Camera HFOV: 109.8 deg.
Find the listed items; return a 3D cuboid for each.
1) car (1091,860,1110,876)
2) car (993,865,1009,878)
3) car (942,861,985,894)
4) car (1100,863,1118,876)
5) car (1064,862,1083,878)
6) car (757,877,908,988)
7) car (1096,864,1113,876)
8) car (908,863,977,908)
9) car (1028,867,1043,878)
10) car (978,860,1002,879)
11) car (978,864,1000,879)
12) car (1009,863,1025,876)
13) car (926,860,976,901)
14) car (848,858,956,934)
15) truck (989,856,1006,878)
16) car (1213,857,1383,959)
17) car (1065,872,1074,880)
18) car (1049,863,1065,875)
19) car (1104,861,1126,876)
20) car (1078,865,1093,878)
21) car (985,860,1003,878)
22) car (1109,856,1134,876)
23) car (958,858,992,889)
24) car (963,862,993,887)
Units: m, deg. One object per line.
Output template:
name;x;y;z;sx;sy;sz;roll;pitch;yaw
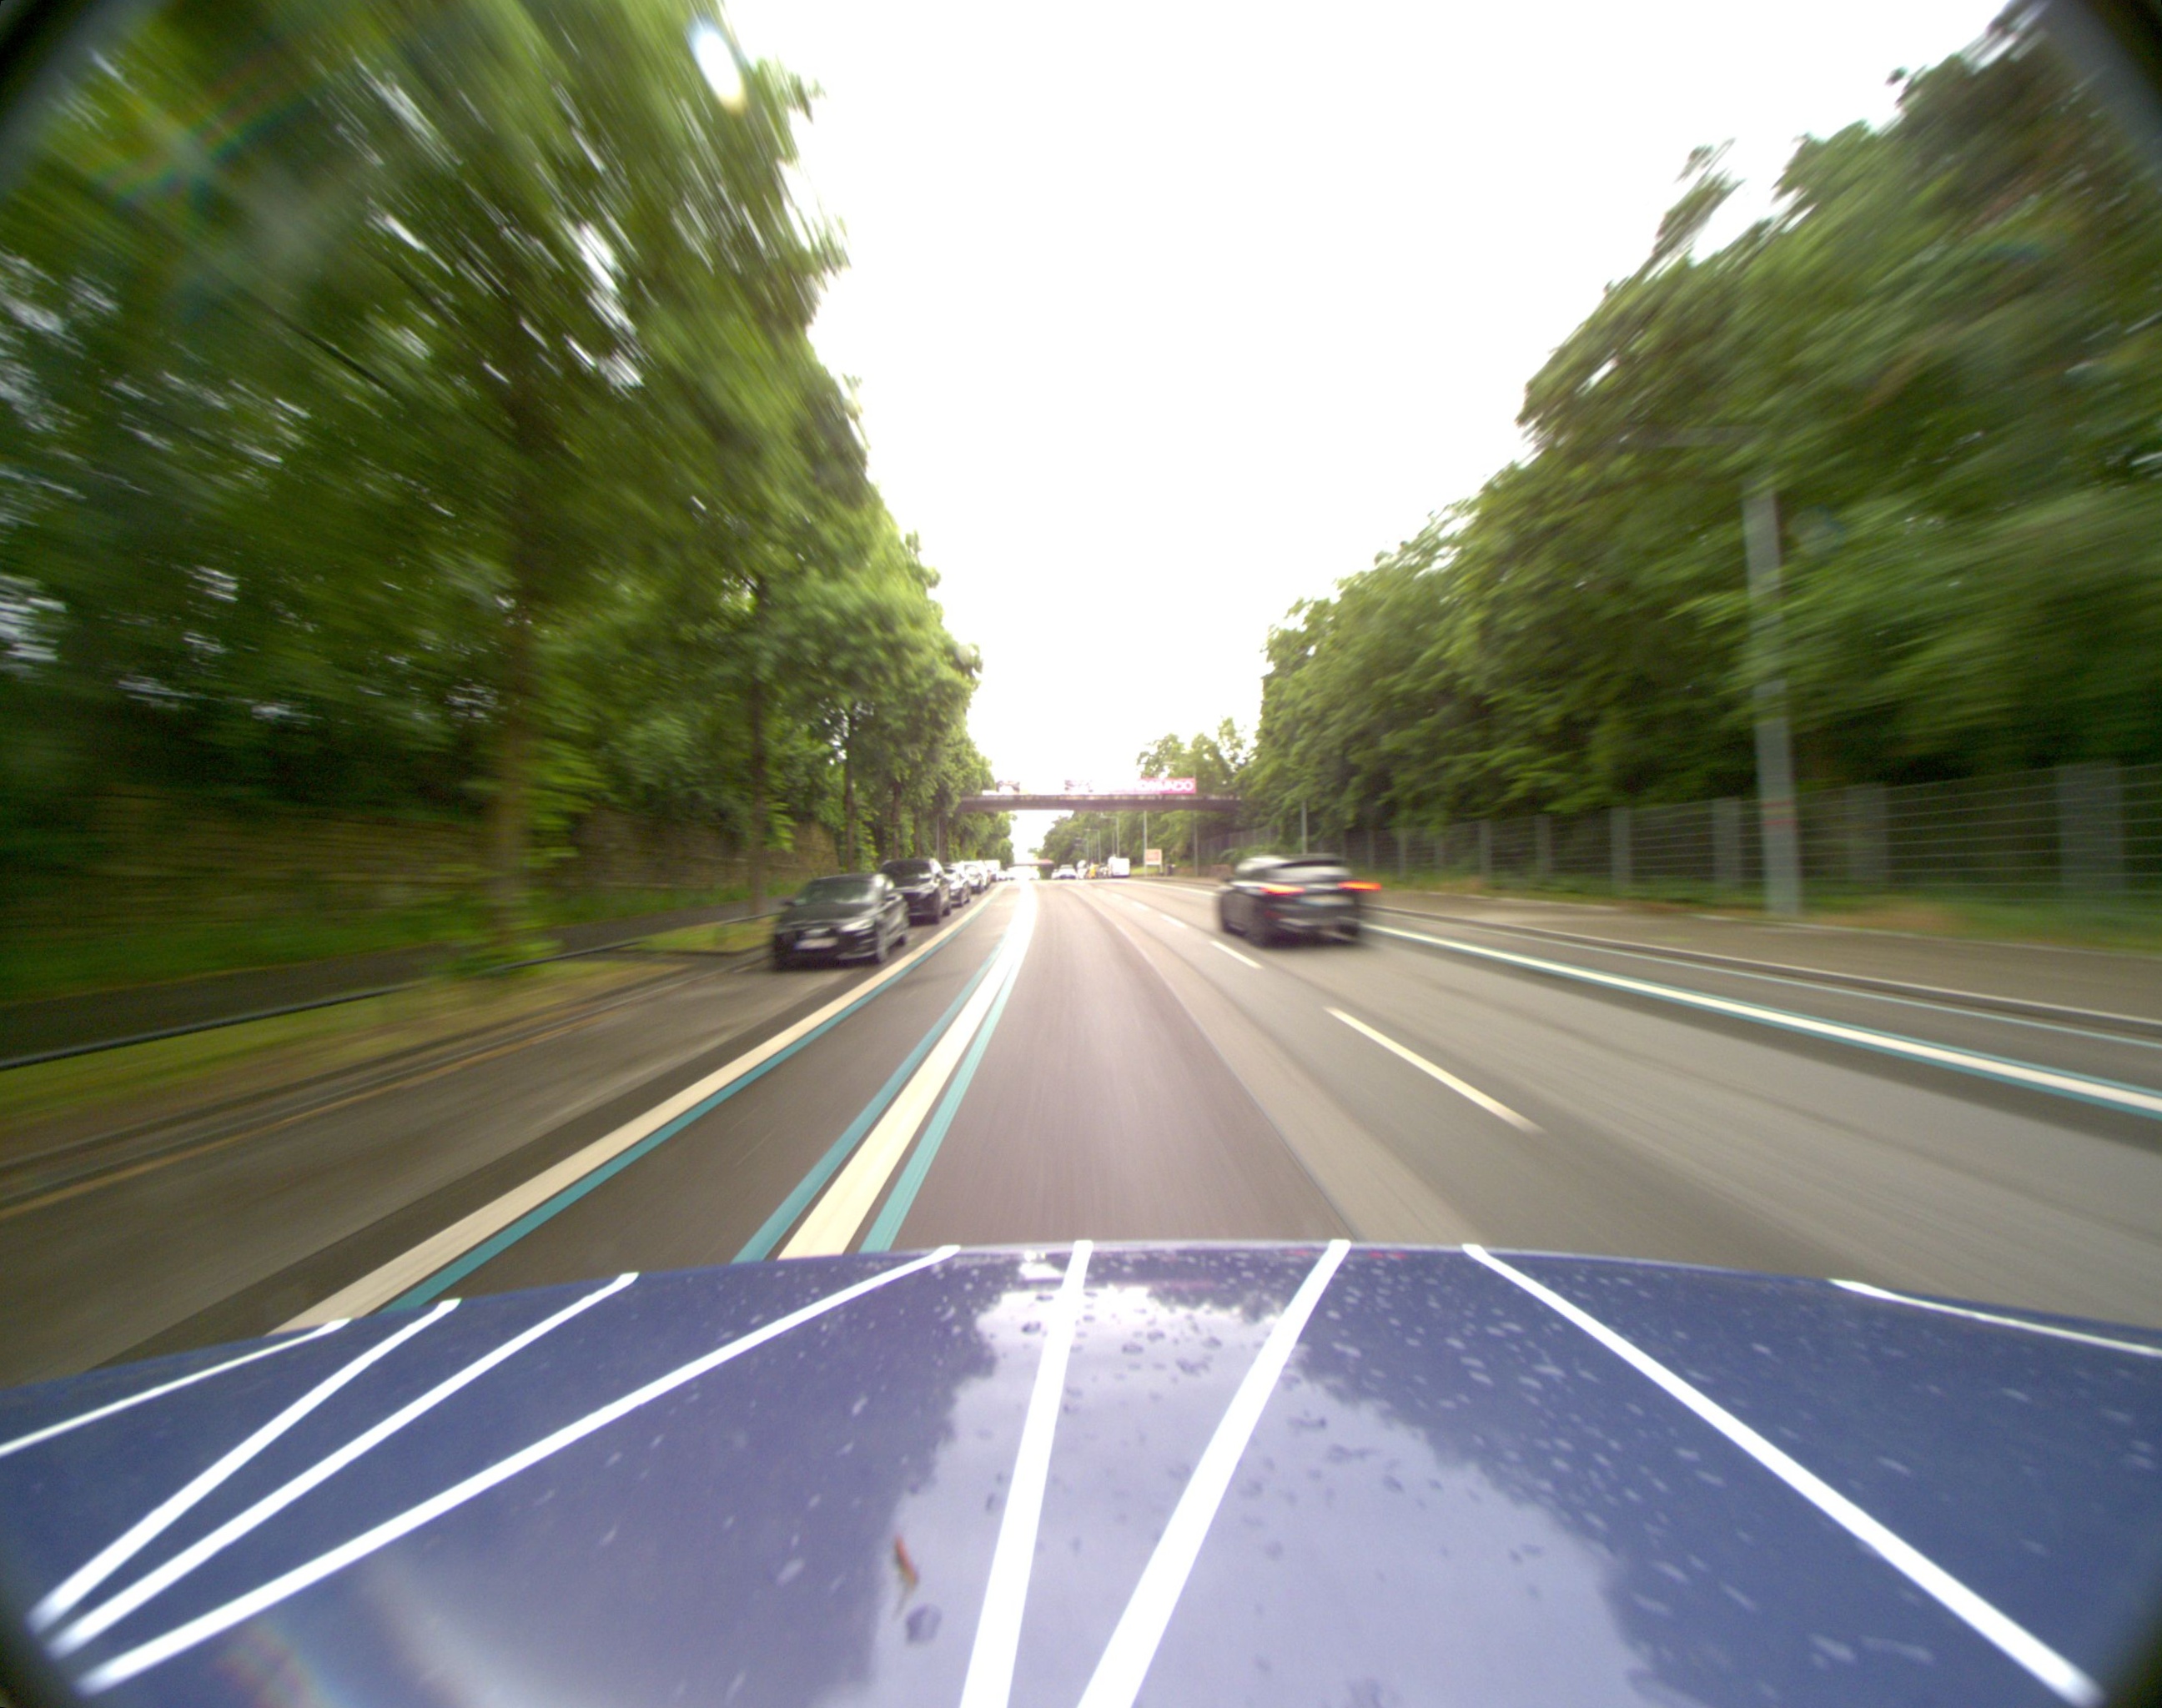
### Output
car;2.542;1.864;100.718;1.999;1.901;4.844;-1;-2;-5
car;-10.278;2.222;97.495;1.762;1.575;4.411;-1;-2;-11
car;-5.745;1.118;37.524;1.723;1.368;4.555;-2;1;-5
car;3.331;1.899;90.295;1.613;1.437;4.038;0;-2;-5
car;-0.845;1.739;82.342;1.801;1.567;4.101;-1;0;-4
car;-4.041;1.189;12.974;1.683;1.368;3.997;-2;1;-7
car;2.943;2.006;95.168;1.714;1.495;4.150;0;-2;-3
car;-4.833;1.061;27.095;1.780;1.340;4.465;-2;1;-3
car;-6.109;2.487;101.552;1.829;1.453;3.881;-2;-2;-5
car;-8.053;1.429;67.138;2.000;1.550;4.641;-1;-2;-7
car;-7.511;1.470;62.252;1.630;1.182;4.182;-2;-2;-5
car;-7.073;1.731;84.057;1.726;1.389;4.590;-1;-2;-5
car;-5.488;1.071;32.411;1.666;1.526;3.740;-2;0;-4
car;-4.610;1.003;20.251;1.999;1.636;4.346;-3;1;-3
truck;-9.407;1.507;85.369;1.724;2.319;3.999;-2;-2;-5
car;3.566;0.809;13.309;1.764;1.428;4.150;-2;0;0
car;-2.556;4.777;165.761;1.823;1.754;4.001;0;-3;-5
car;-3.316;2.110;105.926;1.977;1.542;3.869;-1;-1;-5
car;3.743;1.640;83.987;1.829;1.606;4.662;0;-2;-5
car;0.755;2.841;122.877;1.878;1.965;4.734;0;-2;-6
car;-9.092;1.639;79.710;1.727;1.779;4.345;-2;-2;-5
car;4.045;1.249;76.497;1.984;1.902;5.228;-1;-2;-2
car;-5.988;1.059;43.206;1.718;1.609;4.259;-2;0;-6
car;-6.488;1.277;48.255;1.678;1.385;4.448;-2;1;-5
